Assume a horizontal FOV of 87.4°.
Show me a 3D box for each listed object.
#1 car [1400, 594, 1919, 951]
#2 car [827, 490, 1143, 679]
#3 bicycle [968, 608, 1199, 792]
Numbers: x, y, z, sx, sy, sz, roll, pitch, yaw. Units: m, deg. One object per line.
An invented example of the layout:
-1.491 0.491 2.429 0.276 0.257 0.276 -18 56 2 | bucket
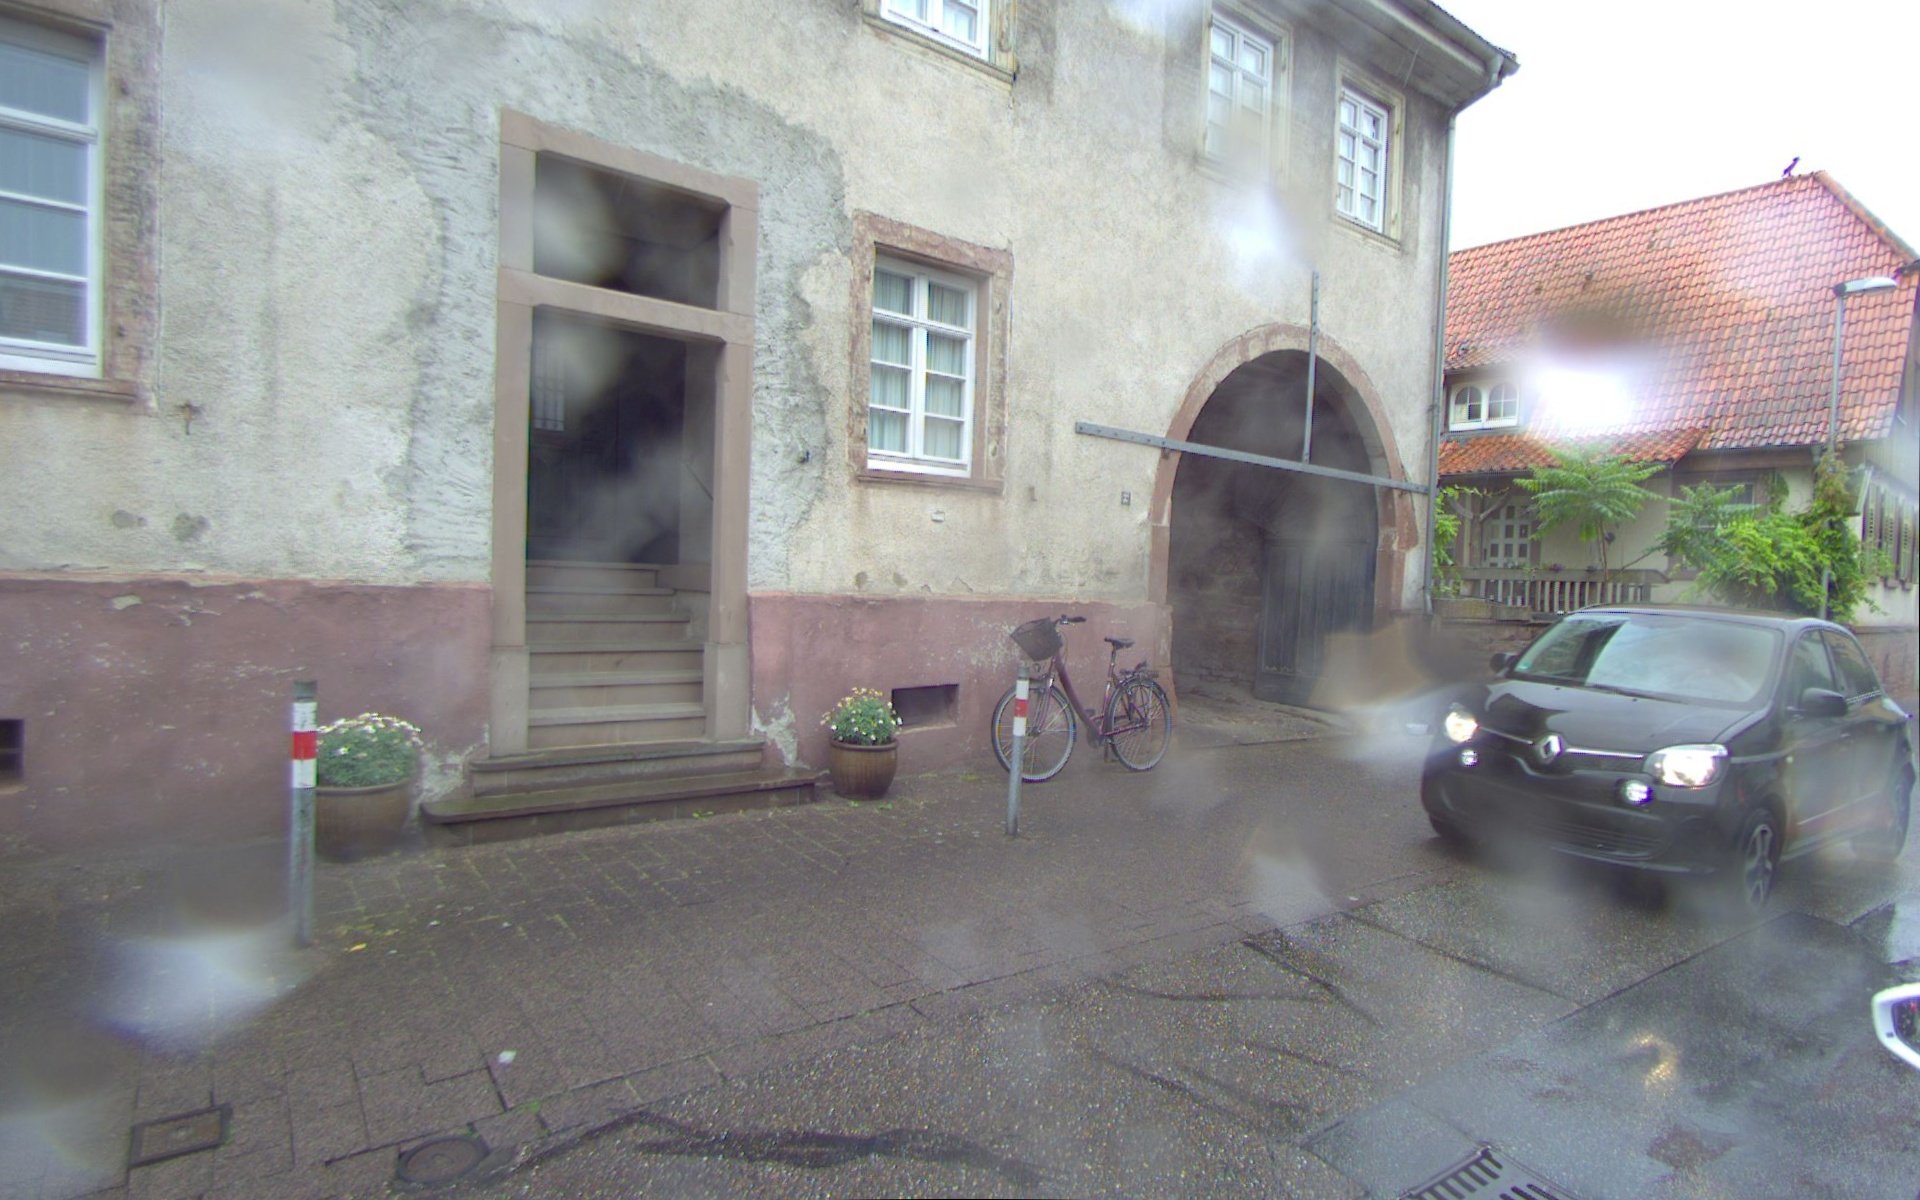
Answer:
4.466 0.807 6.213 3.654 1.533 1.592 2 1 -37 | car
0.157 -0.312 13.523 1.869 1.957 4.194 6 3 -37 | car
0.958 0.681 7.449 1.858 1.194 0.478 1 4 -38 | bicycle
